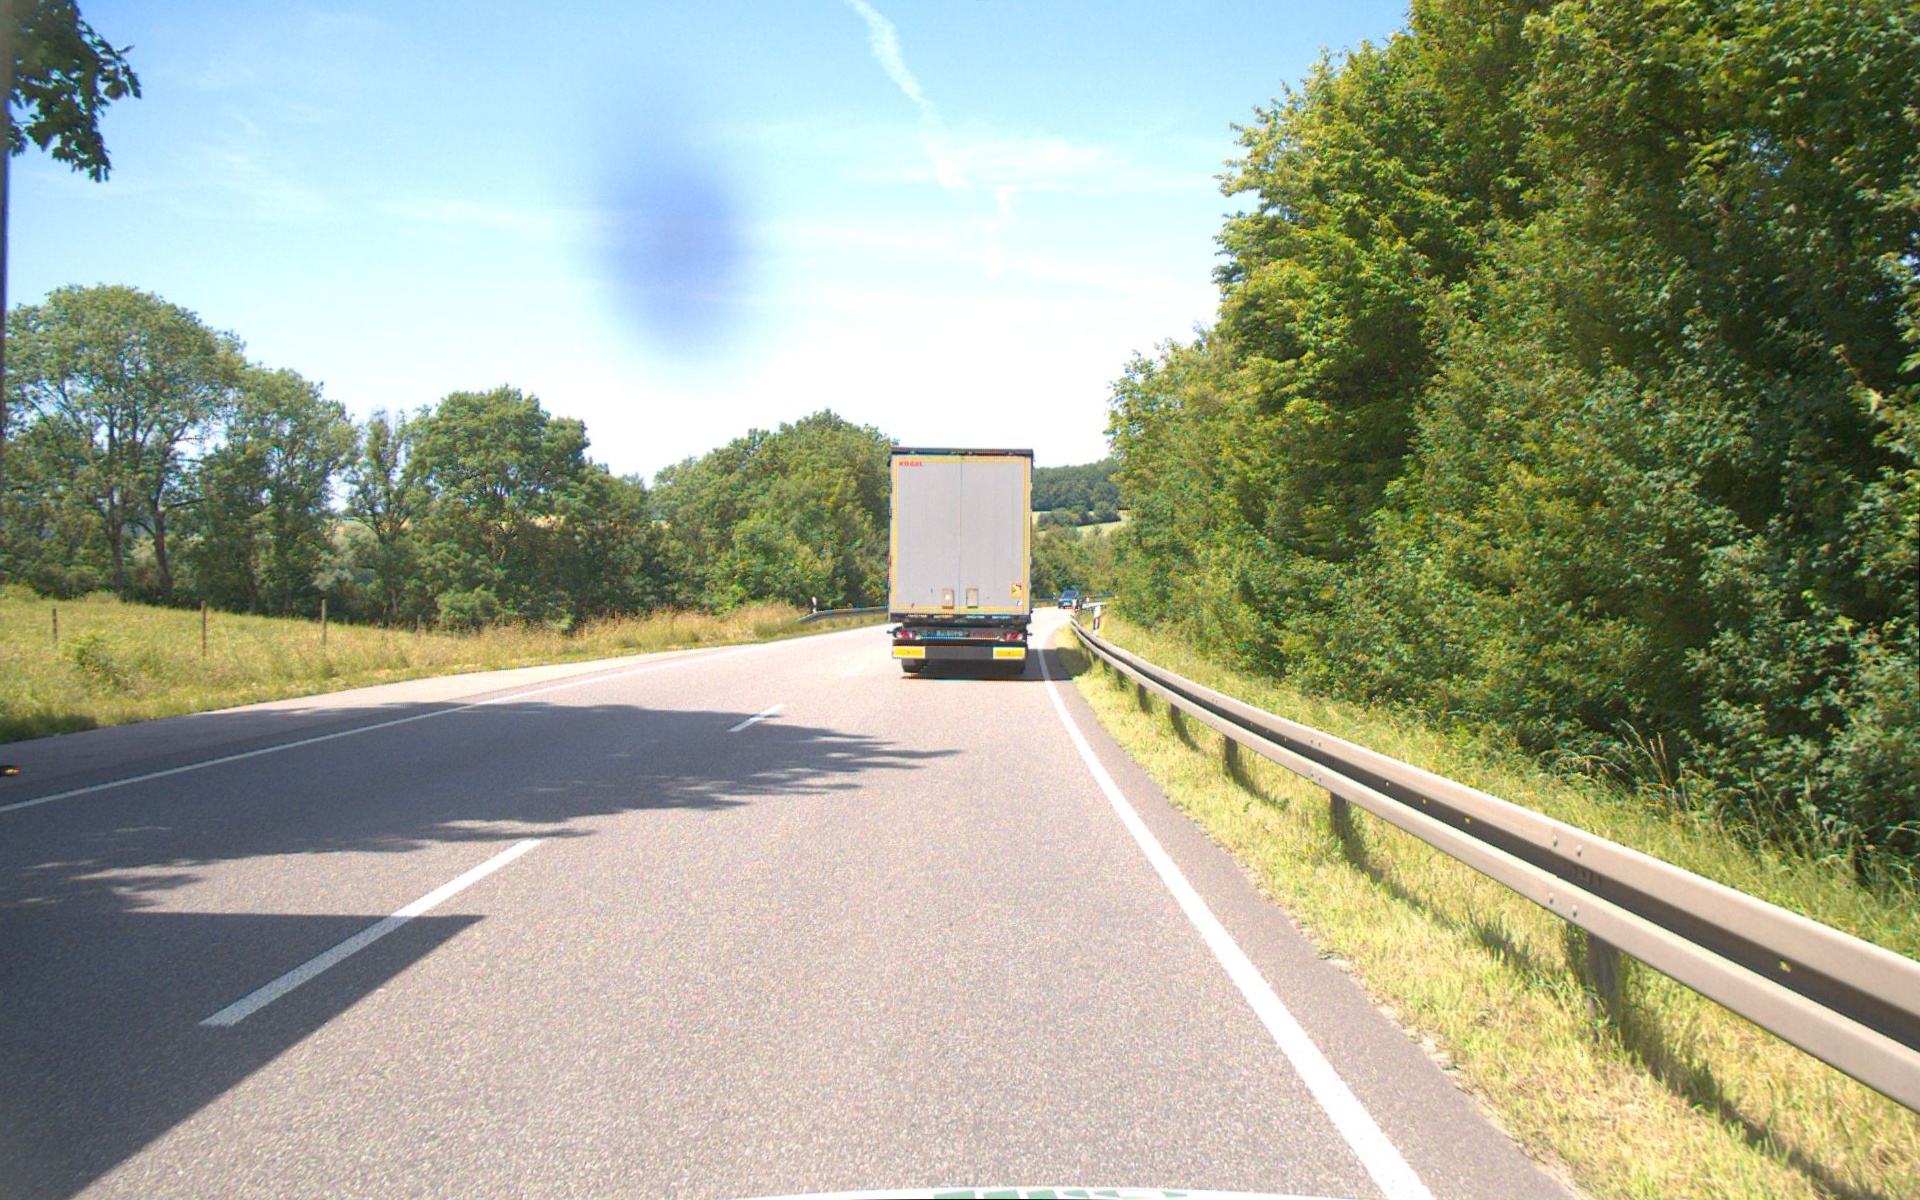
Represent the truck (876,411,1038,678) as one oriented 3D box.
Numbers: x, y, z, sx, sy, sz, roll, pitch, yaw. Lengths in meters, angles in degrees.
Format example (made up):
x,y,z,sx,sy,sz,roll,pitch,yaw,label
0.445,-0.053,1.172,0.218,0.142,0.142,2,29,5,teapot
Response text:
x,y,z,sx,sy,sz,roll,pitch,yaw,label
0.212,-0.989,34.657,2.759,4.612,11.772,1,0,3,truck
